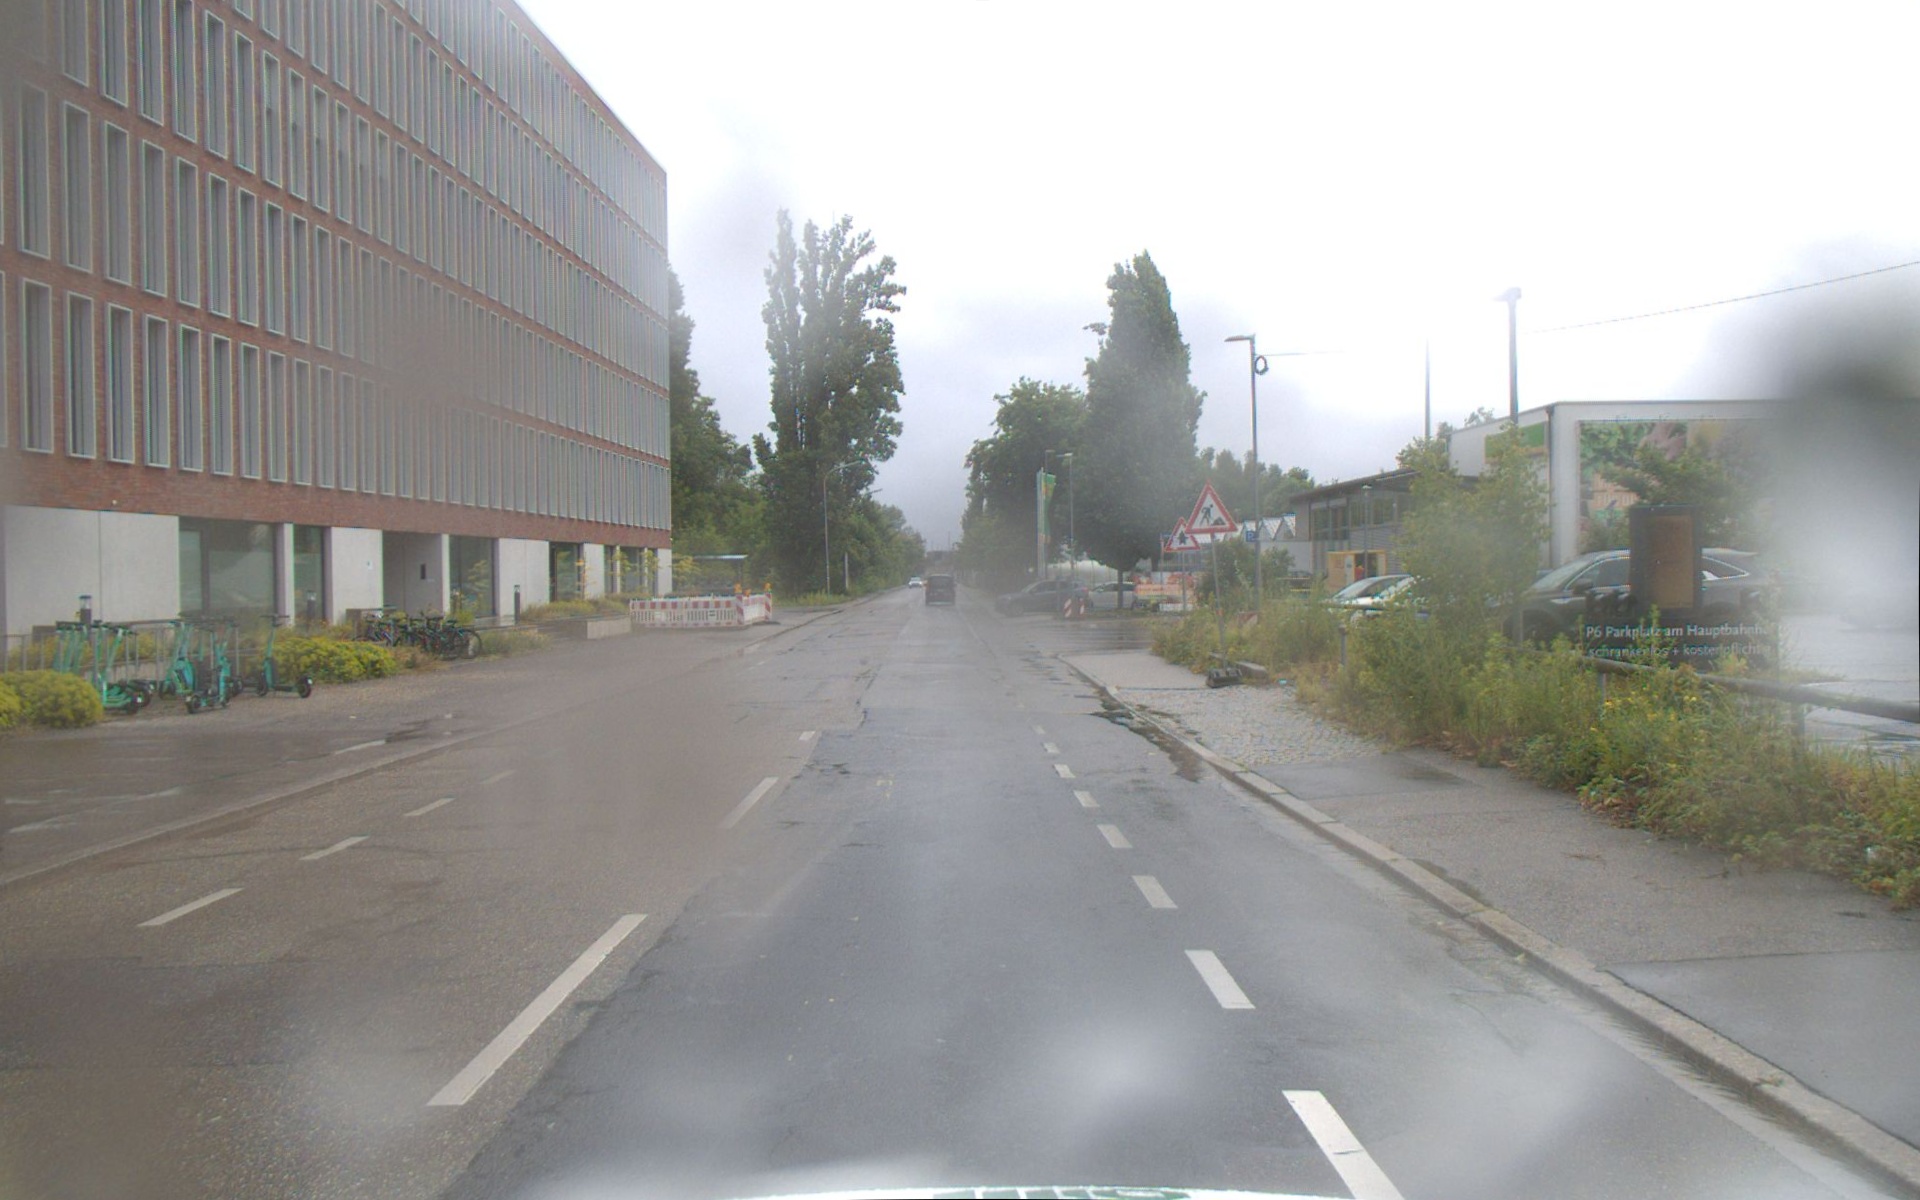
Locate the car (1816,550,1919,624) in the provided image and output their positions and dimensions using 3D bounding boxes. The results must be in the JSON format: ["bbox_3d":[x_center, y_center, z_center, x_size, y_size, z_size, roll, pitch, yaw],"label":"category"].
[{"bbox_3d":[19.462,-0.251,32.812,3.905,1.434,2.000,0,-1,0],"label":"car"}]

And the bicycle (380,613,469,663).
[{"bbox_3d":[-12.095,0.855,37.410,1.822,1.096,0.544,1,0,-2],"label":"bicycle"}]

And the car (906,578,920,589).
[{"bbox_3d":[-6.413,-2.279,227.705,1.698,1.475,4.381,-4,1,0],"label":"car"}]

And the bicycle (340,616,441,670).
[{"bbox_3d":[-12.021,0.905,34.922,1.909,1.096,0.620,1,0,-2],"label":"bicycle"}]

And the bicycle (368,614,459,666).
[{"bbox_3d":[-12.054,0.883,36.517,1.822,1.096,0.544,1,0,-2],"label":"bicycle"}]

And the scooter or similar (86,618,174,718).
[{"bbox_3d":[-10.896,0.884,21.701,1.295,1.251,0.506,-1,1,38],"label":"scooter or similar"}]

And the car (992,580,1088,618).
[{"bbox_3d":[3.601,-0.042,74.714,4.059,1.596,1.762,-2,0,-9],"label":"car"}]

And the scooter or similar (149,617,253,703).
[{"bbox_3d":[-11.261,0.886,24.553,1.293,1.198,0.466,-2,1,-13],"label":"scooter or similar"}]

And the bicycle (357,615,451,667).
[{"bbox_3d":[-12.048,0.884,35.861,1.822,1.096,0.544,1,0,-2],"label":"bicycle"}]

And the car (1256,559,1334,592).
[{"bbox_3d":[19.998,-1.466,98.878,4.272,1.864,2.064,-2,1,1],"label":"car"}]

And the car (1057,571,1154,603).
[{"bbox_3d":[7.197,-0.656,82.058,4.608,1.488,1.890,0,1,-2],"label":"car"}]

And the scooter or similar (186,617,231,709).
[{"bbox_3d":[-10.746,0.879,23.639,0.461,1.251,1.308,-2,1,-29],"label":"scooter or similar"}]

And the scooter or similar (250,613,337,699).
[{"bbox_3d":[-10.034,0.834,24.878,1.291,1.251,0.467,-1,1,29],"label":"scooter or similar"}]

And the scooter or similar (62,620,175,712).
[{"bbox_3d":[-11.527,0.899,22.677,1.288,1.198,0.468,-2,1,5],"label":"scooter or similar"}]

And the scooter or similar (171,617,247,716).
[{"bbox_3d":[-10.154,0.882,22.405,0.456,1.251,1.320,-2,1,-3],"label":"scooter or similar"}]

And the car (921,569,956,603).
[{"bbox_3d":[-1.310,-0.852,99.152,1.953,1.943,4.200,-2,0,-2],"label":"car"}]

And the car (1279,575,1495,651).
[{"bbox_3d":[9.013,0.280,35.112,4.096,1.536,1.890,0,-1,0],"label":"car"}]

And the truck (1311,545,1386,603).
[{"bbox_3d":[19.404,-1.313,83.053,2.253,2.705,7.419,-2,1,3],"label":"truck"}]

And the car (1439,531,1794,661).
[{"bbox_3d":[9.945,-0.045,25.391,4.583,1.765,2.129,-2,-1,4],"label":"car"}]

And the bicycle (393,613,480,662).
[{"bbox_3d":[-12.101,0.853,38.233,1.822,1.096,0.544,1,0,-2],"label":"bicycle"}]

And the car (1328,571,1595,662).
[{"bbox_3d":[8.847,0.289,29.431,4.207,1.543,1.819,0,-1,0],"label":"car"}]

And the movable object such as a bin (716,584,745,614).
[{"bbox_3d":[-10.762,-0.057,77.658,1.271,1.331,1.446,-1,1,-7],"label":"movable object such as a bin"}]

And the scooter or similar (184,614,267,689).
[{"bbox_3d":[-12.480,0.871,28.105,1.200,1.229,0.418,-2,1,7],"label":"scooter or similar"}]

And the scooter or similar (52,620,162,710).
[{"bbox_3d":[-11.970,0.907,23.228,1.288,1.198,0.468,-2,1,5],"label":"scooter or similar"}]

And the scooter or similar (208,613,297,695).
[{"bbox_3d":[-11.210,0.844,26.223,0.459,1.229,1.201,-1,1,41],"label":"scooter or similar"}]

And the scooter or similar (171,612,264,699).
[{"bbox_3d":[-11.409,0.839,25.424,0.459,1.251,1.201,-1,1,41],"label":"scooter or similar"}]

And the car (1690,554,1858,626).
[{"bbox_3d":[23.176,-0.304,47.172,3.906,1.955,1.831,-1,1,-2],"label":"car"}]
